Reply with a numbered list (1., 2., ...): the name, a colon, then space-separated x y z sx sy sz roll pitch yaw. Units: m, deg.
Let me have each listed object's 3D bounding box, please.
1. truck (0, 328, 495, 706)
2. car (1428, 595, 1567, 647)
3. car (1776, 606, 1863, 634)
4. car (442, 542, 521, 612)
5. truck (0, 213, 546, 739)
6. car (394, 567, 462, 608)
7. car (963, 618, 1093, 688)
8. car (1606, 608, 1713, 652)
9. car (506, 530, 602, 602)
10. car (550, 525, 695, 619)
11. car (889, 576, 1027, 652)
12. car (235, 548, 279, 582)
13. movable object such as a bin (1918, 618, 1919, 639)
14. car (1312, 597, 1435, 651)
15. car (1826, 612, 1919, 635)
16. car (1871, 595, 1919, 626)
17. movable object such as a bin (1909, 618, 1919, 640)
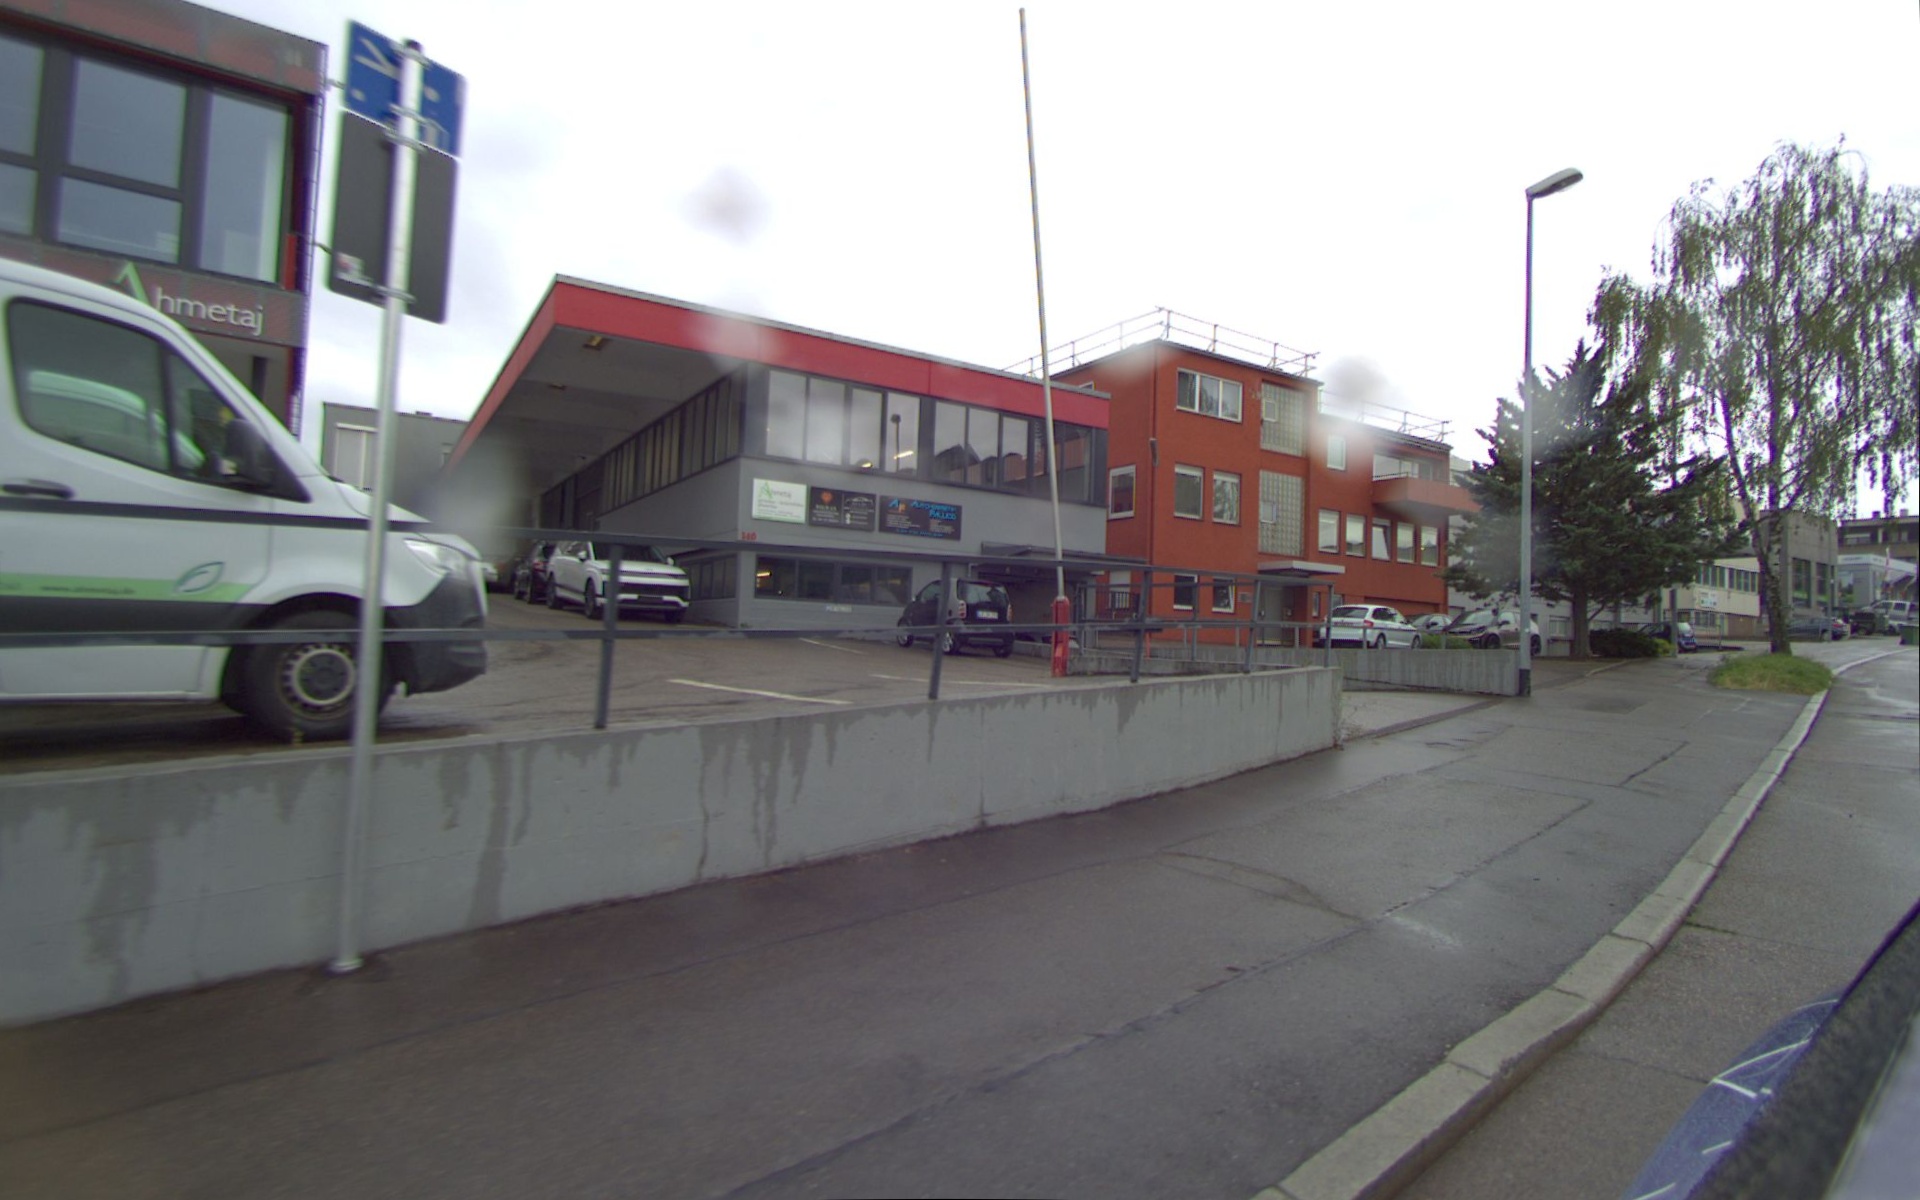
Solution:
1. truck: -6.316 -0.522 7.555 4.750 2.371 2.247 1 0 -40
2. car: 17.792 0.710 33.461 4.421 1.600 2.003 1 -2 -30
3. car: 52.148 1.182 61.448 1.600 1.559 3.752 1 0 -34
4. car: -14.986 -0.663 31.583 1.743 2.039 4.002 1 0 -32
5. truck: -5.154 -0.539 4.762 5.556 2.242 2.108 1 0 -43
6. car: -20.051 -0.475 38.073 1.961 1.415 4.003 1 0 -32
7. car: 1.624 1.247 24.950 1.599 1.514 3.044 1 0 -36
8. car: 31.196 1.361 45.230 1.586 1.520 3.446 1 -9 -29
9. car: -10.704 -0.893 26.529 1.637 1.677 3.714 3 1 -32
10. car: -7.328 -0.631 21.734 1.823 1.760 3.939 3 1 -35
11. car: -0.085 0.257 21.043 1.645 1.464 2.722 1 0 -34
12. car: -32.841 -1.605 47.337 1.610 1.491 3.062 1 0 -34
13. movable object such as a bin: 51.520 1.517 53.843 0.583 1.104 0.736 1 -1 -38
14. car: 12.474 0.701 30.418 4.258 1.489 1.905 1 0 -45
15. car: 64.945 1.661 72.087 1.903 1.516 4.628 1 0 -33
16. car: 72.954 0.826 76.849 2.158 2.323 5.160 1 -1 -31
17. movable object such as a bin: 49.999 1.509 52.748 0.583 1.104 0.736 1 -1 -38
